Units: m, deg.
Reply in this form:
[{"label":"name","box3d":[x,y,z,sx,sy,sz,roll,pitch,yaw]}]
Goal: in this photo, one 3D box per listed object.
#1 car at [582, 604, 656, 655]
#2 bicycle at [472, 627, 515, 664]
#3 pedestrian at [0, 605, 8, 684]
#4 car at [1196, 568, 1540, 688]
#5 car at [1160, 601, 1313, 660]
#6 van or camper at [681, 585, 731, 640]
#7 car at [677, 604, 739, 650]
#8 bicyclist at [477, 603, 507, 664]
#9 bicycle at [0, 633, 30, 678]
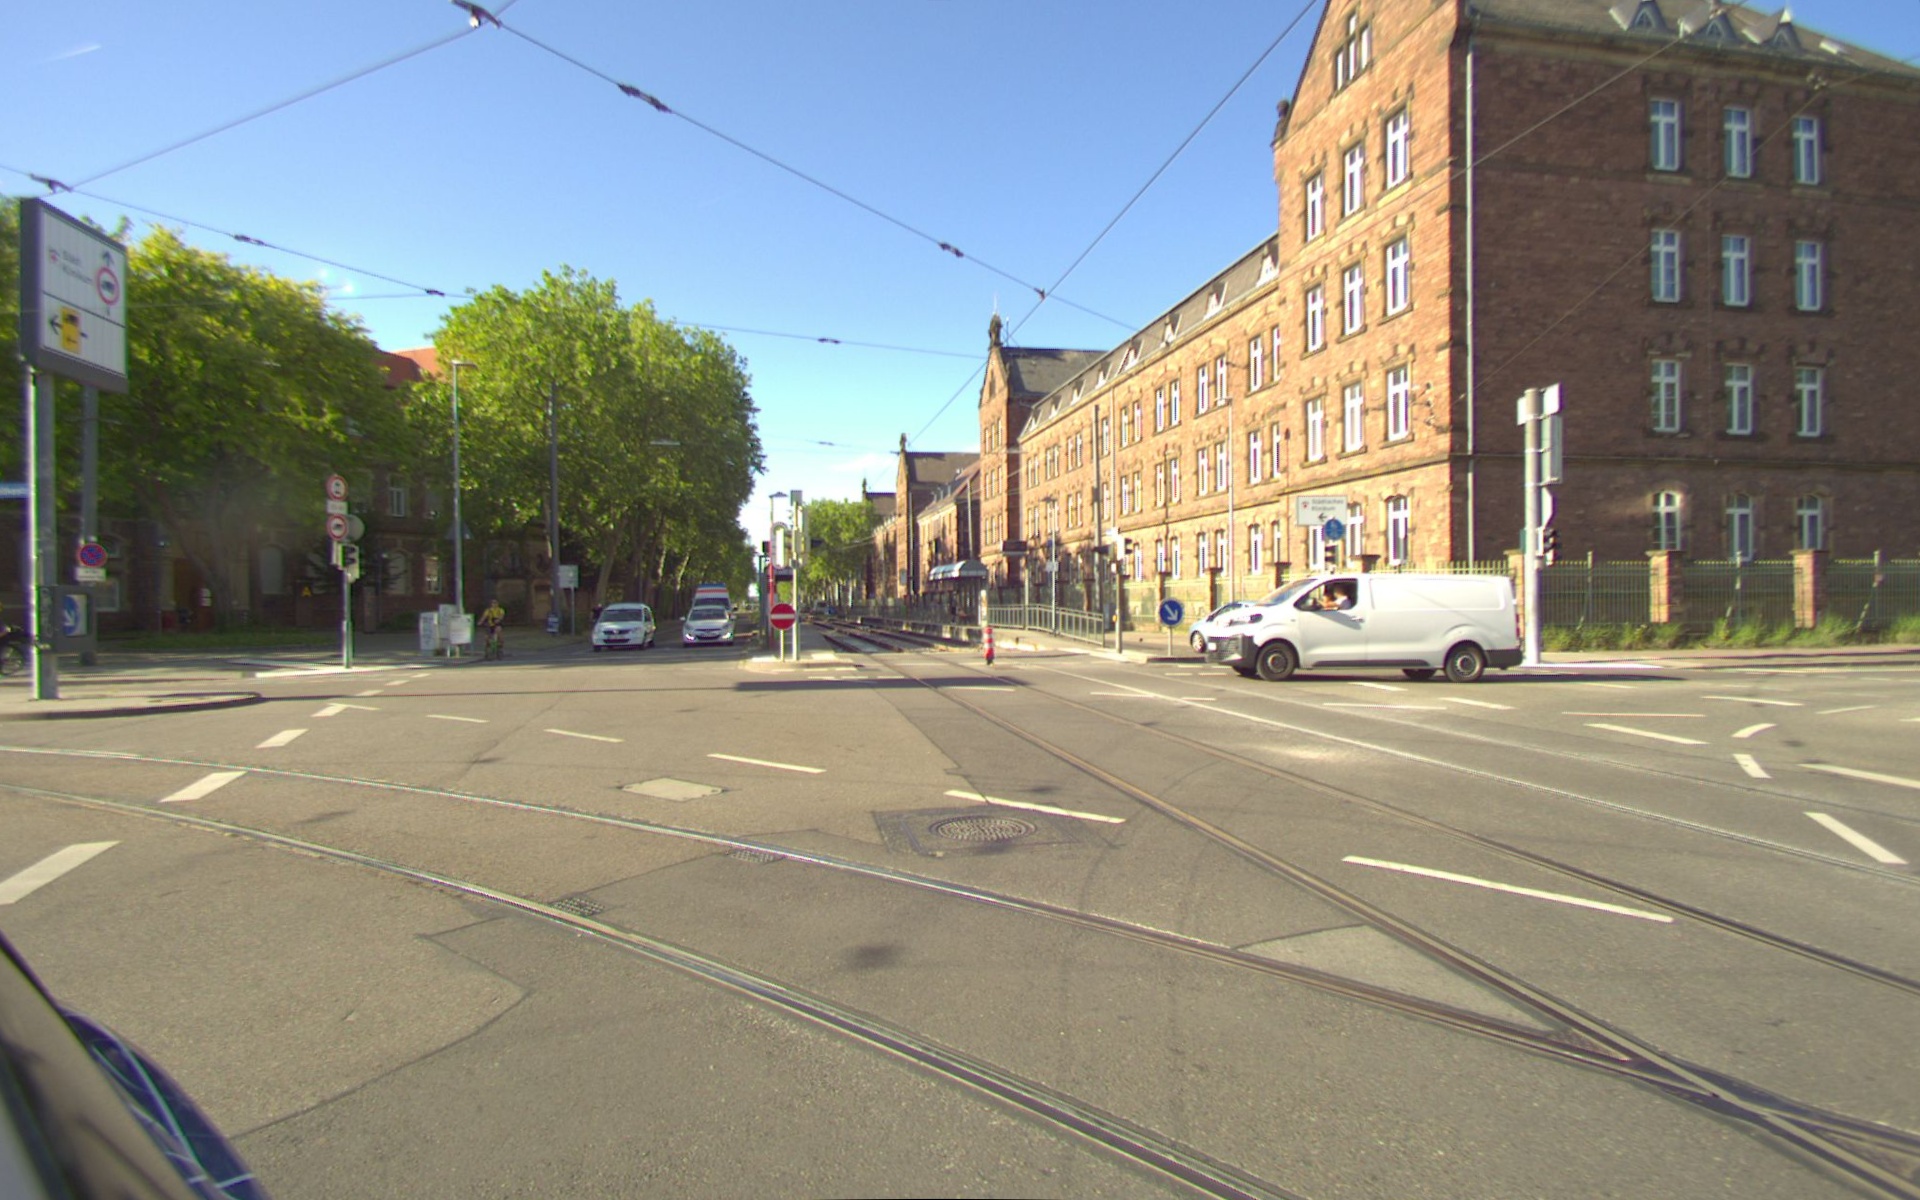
[{"label":"car","box3d":[-11.799,1.015,35.301,1.881,1.630,4.582,-1,-1,-11]},{"label":"bicycle","box3d":[-13.557,1.326,29.465,0.679,1.041,2.103,0,-3,-11]},{"label":"pedestrian","box3d":[-21.739,0.996,22.575,0.658,1.760,0.487,0,0,-32]},{"label":"car","box3d":[7.117,0.483,18.110,5.227,1.943,2.165,-1,-1,-1]},{"label":"car","box3d":[7.339,0.796,27.326,1.712,1.454,4.128,0,-1,-25]},{"label":"van or camper","box3d":[-11.637,0.626,46.706,1.967,2.379,5.611,-1,-2,-11]},{"label":"car","box3d":[-9.217,0.981,37.320,1.953,1.560,4.043,-1,-1,-10]},{"label":"bicyclist","box3d":[-13.507,0.965,29.217,0.659,1.742,0.624,0,-3,-11]},{"label":"bicycle","box3d":[-22.691,1.307,23.511,1.568,1.004,0.480,-1,0,-41]}]
